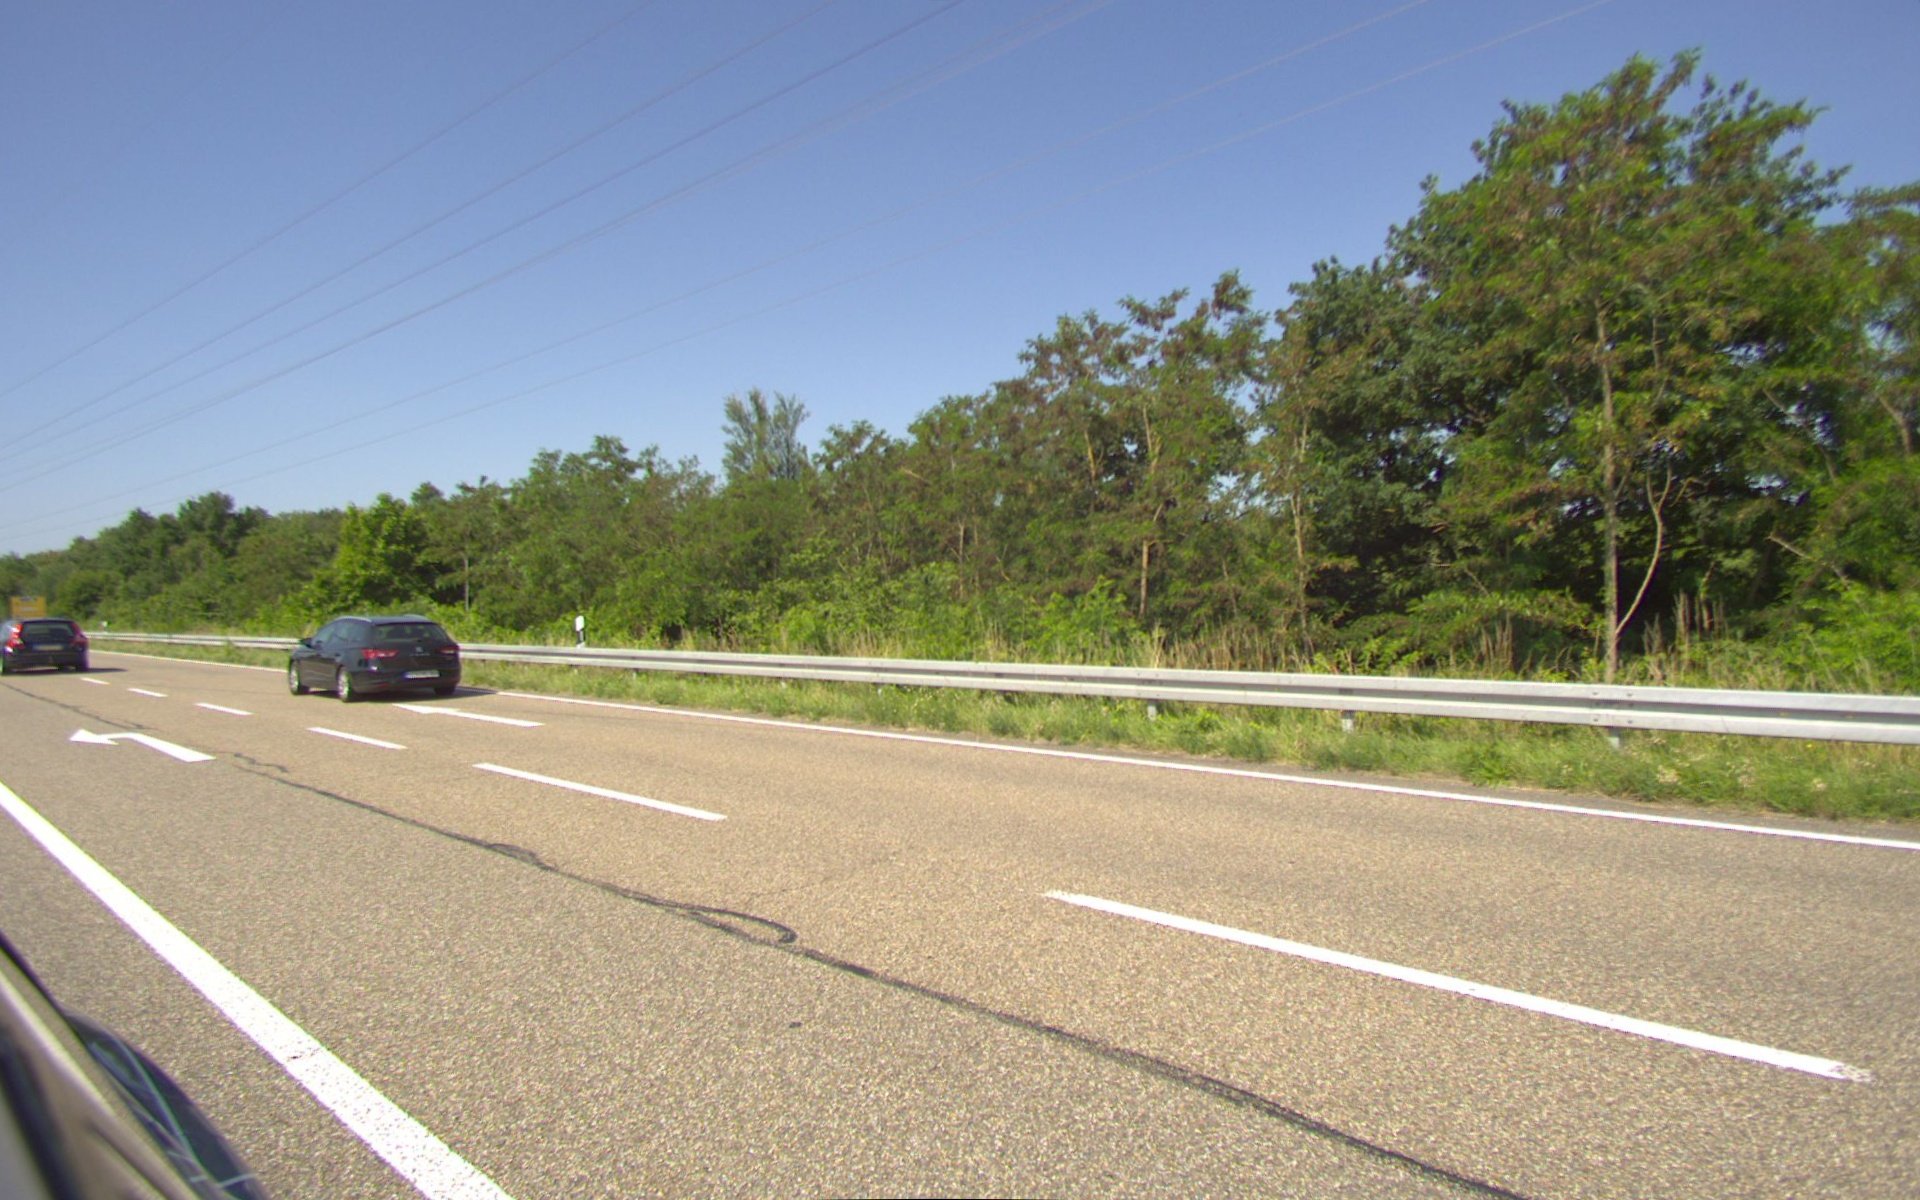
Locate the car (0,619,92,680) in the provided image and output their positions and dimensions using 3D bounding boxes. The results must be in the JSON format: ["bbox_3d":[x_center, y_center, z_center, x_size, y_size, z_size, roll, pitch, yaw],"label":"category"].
[{"bbox_3d":[-25.539,1.309,27.908,4.419,1.502,1.710,-1,0,40],"label":"car"}]

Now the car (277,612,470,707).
[{"bbox_3d":[-10.380,0.966,17.788,4.212,1.453,1.642,-1,0,41],"label":"car"}]
